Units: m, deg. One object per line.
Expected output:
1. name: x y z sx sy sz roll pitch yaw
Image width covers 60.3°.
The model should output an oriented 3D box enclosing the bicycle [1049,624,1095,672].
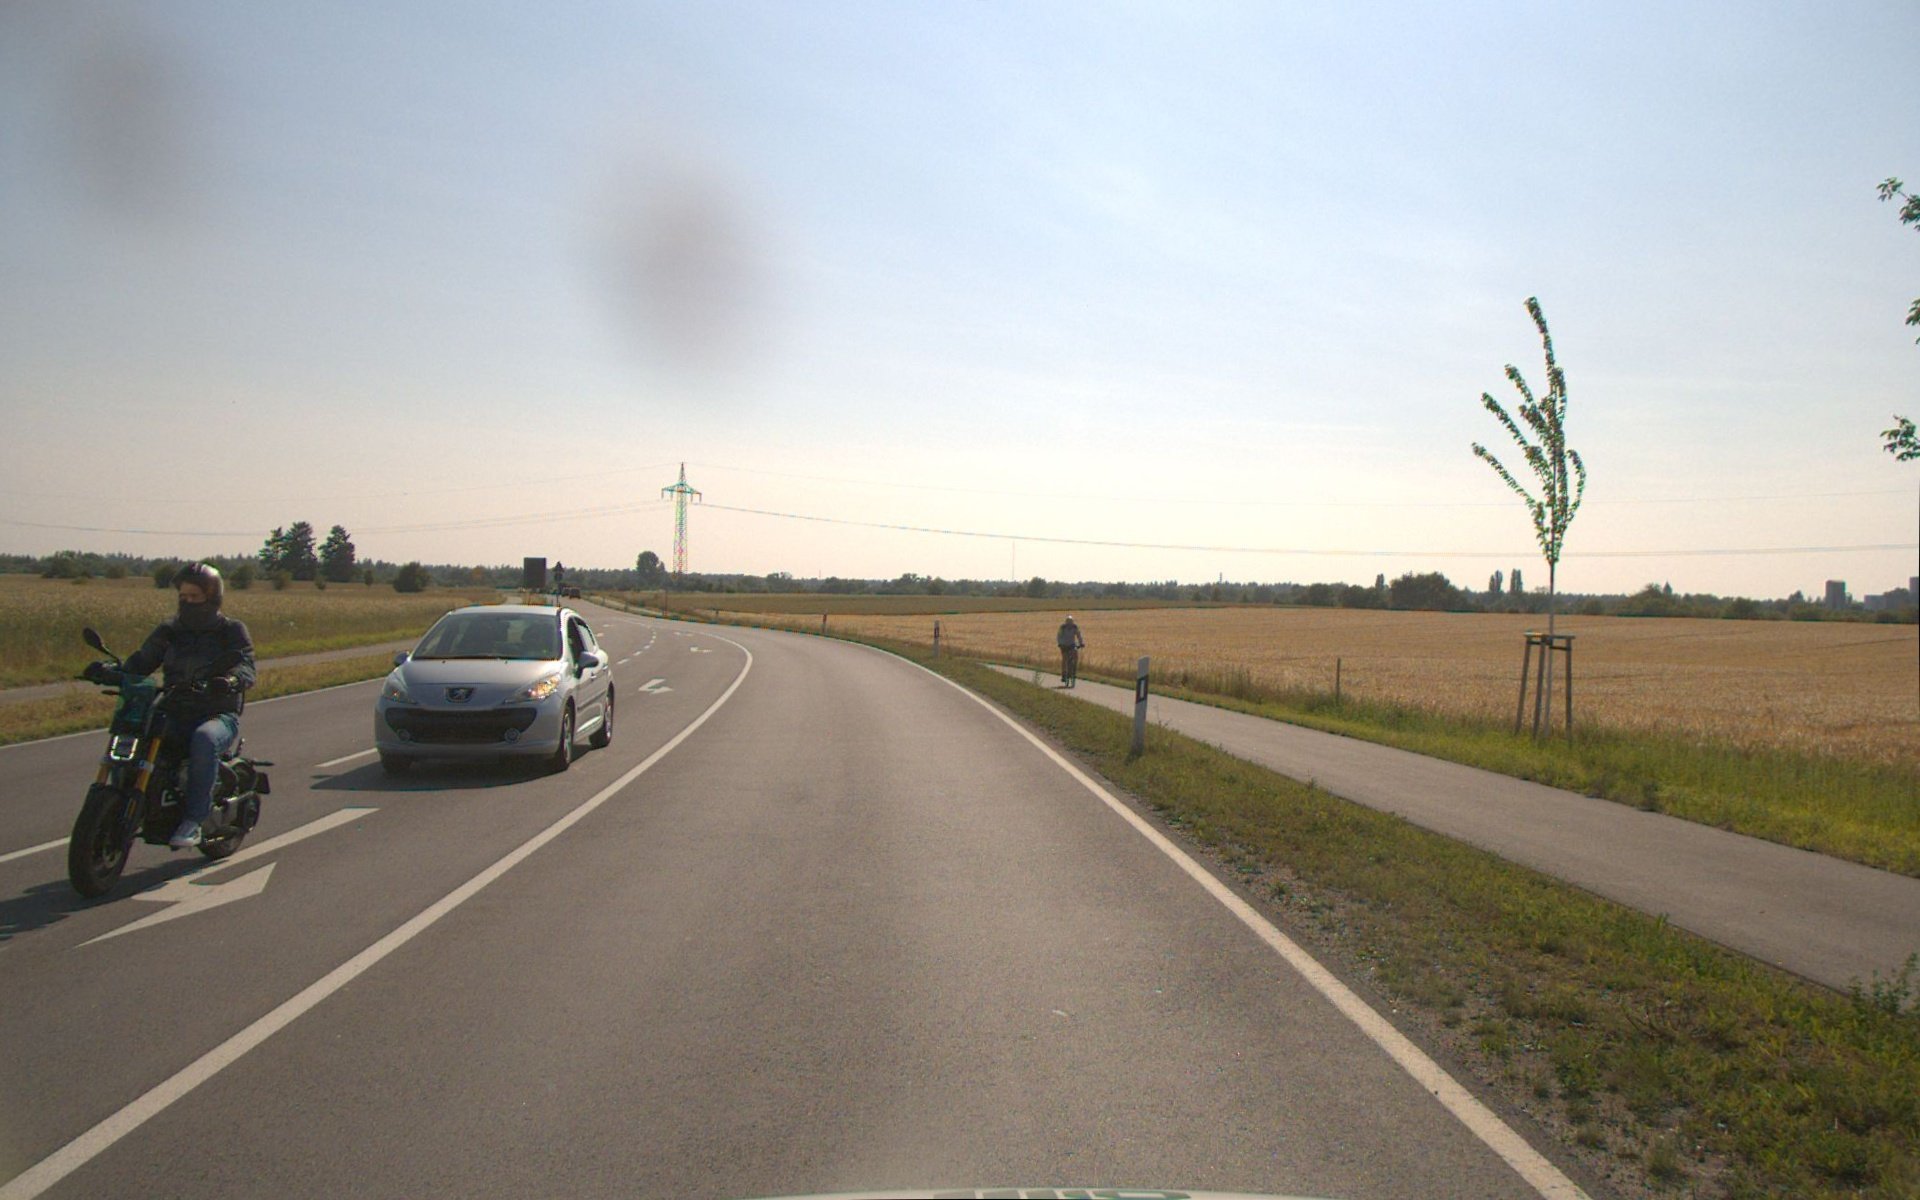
1. bicycle: 2.958 1.253 43.780 0.829 1.162 2.204 3 -1 -5

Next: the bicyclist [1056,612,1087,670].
1. bicyclist: 2.962 1.079 43.902 0.625 1.482 0.816 3 -1 -6

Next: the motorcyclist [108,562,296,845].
1. motorcyclist: -4.270 0.560 9.367 0.664 1.521 0.847 0 0 -1

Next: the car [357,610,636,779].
1. car: -4.363 0.824 16.173 1.652 1.428 3.999 0 0 -1

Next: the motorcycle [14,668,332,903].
1. motorcycle: -4.311 0.968 9.261 0.853 1.092 1.968 0 0 -1
